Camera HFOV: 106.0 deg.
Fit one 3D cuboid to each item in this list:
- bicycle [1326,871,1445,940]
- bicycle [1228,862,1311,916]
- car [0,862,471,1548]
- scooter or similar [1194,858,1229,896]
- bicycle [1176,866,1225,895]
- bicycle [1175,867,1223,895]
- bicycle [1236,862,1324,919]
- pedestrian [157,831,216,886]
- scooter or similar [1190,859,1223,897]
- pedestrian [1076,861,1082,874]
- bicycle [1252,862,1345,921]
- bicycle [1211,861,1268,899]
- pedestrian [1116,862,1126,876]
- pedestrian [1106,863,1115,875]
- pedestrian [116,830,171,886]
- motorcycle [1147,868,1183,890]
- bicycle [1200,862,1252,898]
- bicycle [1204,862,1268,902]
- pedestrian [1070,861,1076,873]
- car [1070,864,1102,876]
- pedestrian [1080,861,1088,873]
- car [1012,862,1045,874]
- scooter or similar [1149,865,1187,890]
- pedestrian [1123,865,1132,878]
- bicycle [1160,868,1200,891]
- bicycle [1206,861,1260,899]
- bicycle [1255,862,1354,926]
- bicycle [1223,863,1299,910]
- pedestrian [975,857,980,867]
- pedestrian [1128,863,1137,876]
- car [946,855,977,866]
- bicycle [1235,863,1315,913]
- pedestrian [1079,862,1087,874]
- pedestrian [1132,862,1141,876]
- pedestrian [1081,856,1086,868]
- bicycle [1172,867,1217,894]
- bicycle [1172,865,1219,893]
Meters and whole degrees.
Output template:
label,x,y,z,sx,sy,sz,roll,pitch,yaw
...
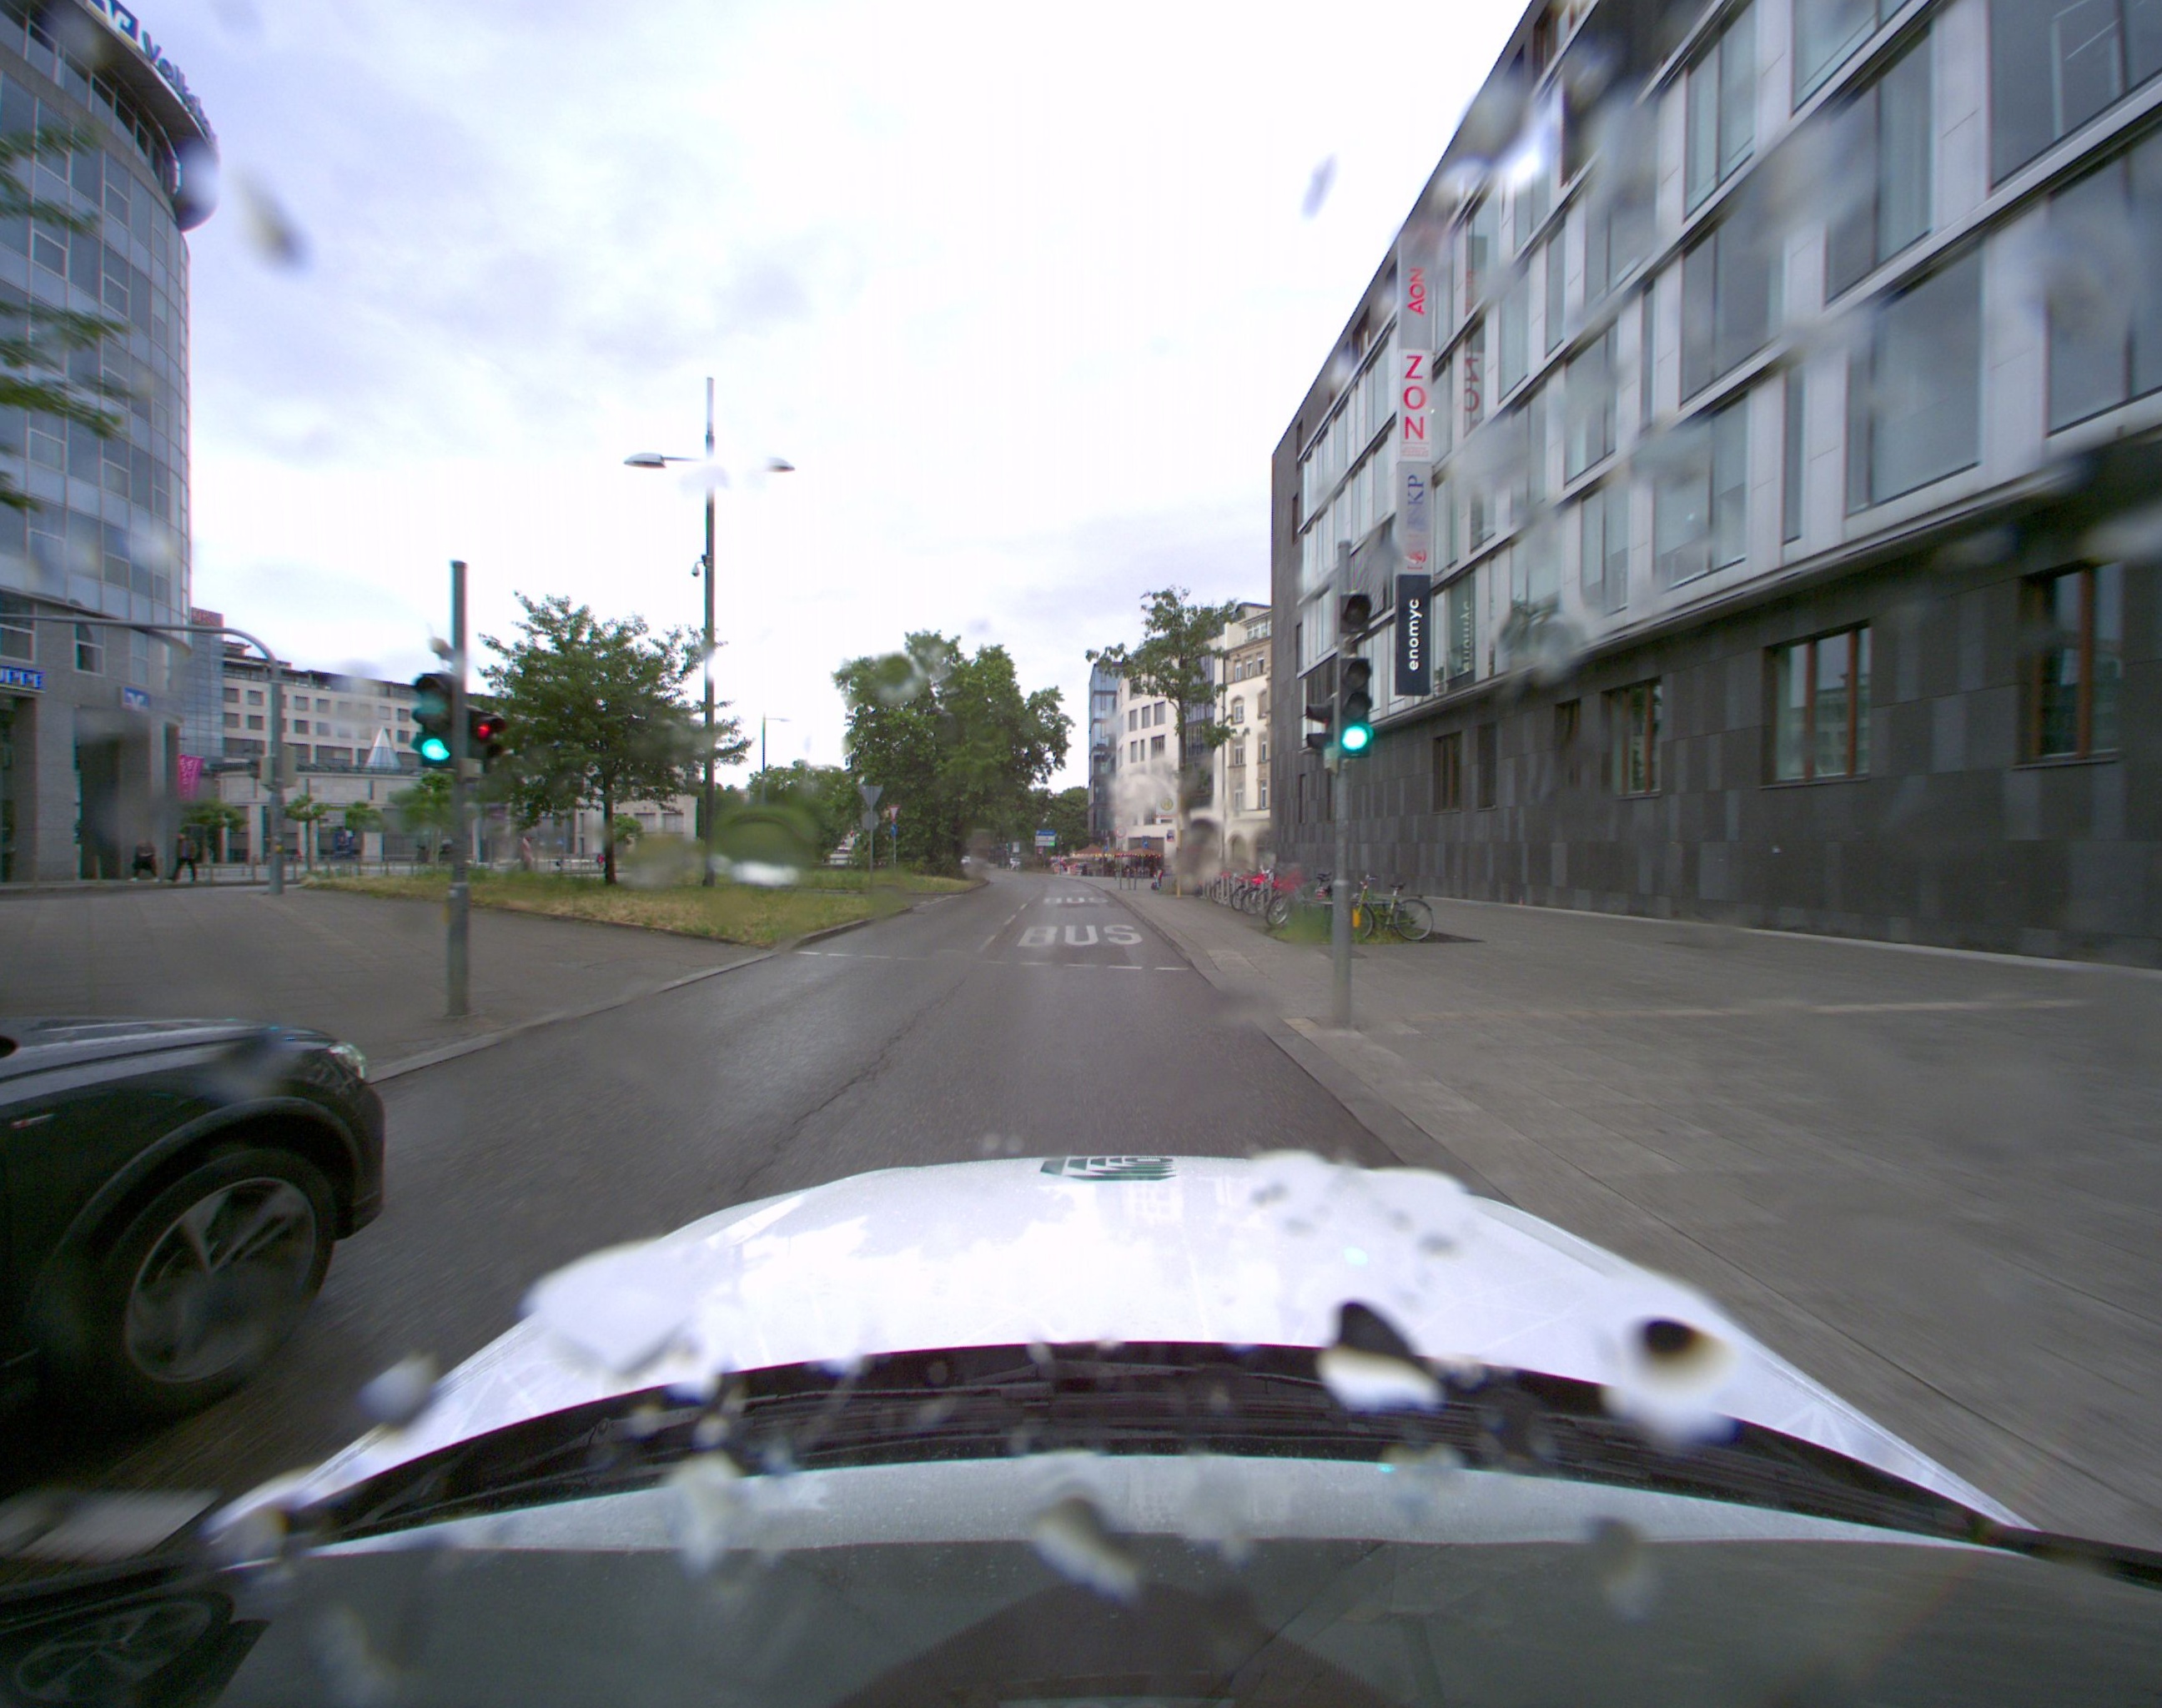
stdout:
label,x,y,z,sx,sy,sz,roll,pitch,yaw
bicycle,5.037,0.835,13.506,1.728,1.070,0.687,-1,0,-8
bicycle,4.316,0.781,18.733,1.728,1.183,0.687,-1,0,-8
car,-3.314,0.775,1.022,1.855,1.518,4.342,0,0,-1
scooter or similar,4.342,0.760,27.112,1.105,1.258,0.301,0,-2,-9
bicycle,4.625,1.031,31.486,1.792,1.068,0.555,2,-2,-6
bicycle,4.690,1.078,32.357,1.792,1.068,0.555,2,-2,-6
bicycle,4.333,0.776,17.756,1.728,1.183,0.687,-1,0,-8
pedestrian,-33.267,0.163,30.320,1.054,2.014,1.030,0,-1,-14
scooter or similar,4.237,0.803,27.469,1.060,1.258,0.301,0,-2,-9
pedestrian,-0.210,1.516,91.276,0.605,1.326,0.566,3,-1,-6
bicycle,4.523,0.763,16.960,1.728,1.183,0.687,-1,0,-8
bicycle,4.747,0.778,24.381,1.533,1.140,0.687,0,-2,-8
pedestrian,3.845,1.459,77.985,0.772,1.326,0.634,3,-1,-6
pedestrian,3.399,1.693,93.773,0.816,1.326,0.634,3,-1,-6
pedestrian,-34.300,0.163,29.813,0.851,2.014,1.030,0,-1,-14
motorcycle,4.371,1.301,42.453,1.790,1.140,0.594,2,-2,-7
bicycle,4.616,0.820,25.959,1.533,1.140,0.661,0,-2,-8
bicycle,4.470,0.805,23.572,1.704,1.140,0.687,0,-2,-8
pedestrian,-0.890,1.481,91.217,0.605,1.326,0.566,3,-1,-6
car,0.691,2.341,122.078,4.722,1.691,2.003,1,0,-2
pedestrian,0.314,1.535,92.891,0.816,1.326,0.634,3,-1,-6
car,-7.734,2.022,119.505,4.722,1.691,2.003,1,0,-2
scooter or similar,4.457,1.221,41.723,1.790,1.243,0.594,2,-2,-7
pedestrian,4.816,1.819,84.284,0.630,1.326,0.630,3,-1,-26
bicycle,4.813,1.237,39.652,1.792,1.108,0.668,2,-2,-7
bicycle,4.689,0.802,25.161,1.533,1.140,0.687,0,-2,-8
bicycle,4.333,0.759,15.829,1.728,1.183,0.687,-1,0,-8
bicycle,4.510,0.800,20.431,1.728,1.140,0.687,-1,0,-8
pedestrian,-17.521,1.305,137.422,0.719,1.702,0.619,-1,-1,6
pedestrian,5.245,1.551,83.154,0.630,1.326,0.630,3,-1,-26
car,-18.464,0.950,125.818,4.296,1.666,1.962,0,-1,18
bicycle,4.661,0.799,19.624,1.728,1.140,0.687,-1,0,-8
pedestrian,0.189,1.572,93.881,0.816,1.326,0.634,3,-1,-6
pedestrian,5.610,1.497,82.259,0.630,1.326,0.630,3,-1,-26
pedestrian,0.404,1.386,136.649,0.621,1.933,0.789,1,-1,5
bicycle,4.862,1.118,34.976,1.792,1.108,0.668,2,-2,-7
bicycle,4.666,1.014,33.121,1.792,1.068,0.555,2,-2,-6
